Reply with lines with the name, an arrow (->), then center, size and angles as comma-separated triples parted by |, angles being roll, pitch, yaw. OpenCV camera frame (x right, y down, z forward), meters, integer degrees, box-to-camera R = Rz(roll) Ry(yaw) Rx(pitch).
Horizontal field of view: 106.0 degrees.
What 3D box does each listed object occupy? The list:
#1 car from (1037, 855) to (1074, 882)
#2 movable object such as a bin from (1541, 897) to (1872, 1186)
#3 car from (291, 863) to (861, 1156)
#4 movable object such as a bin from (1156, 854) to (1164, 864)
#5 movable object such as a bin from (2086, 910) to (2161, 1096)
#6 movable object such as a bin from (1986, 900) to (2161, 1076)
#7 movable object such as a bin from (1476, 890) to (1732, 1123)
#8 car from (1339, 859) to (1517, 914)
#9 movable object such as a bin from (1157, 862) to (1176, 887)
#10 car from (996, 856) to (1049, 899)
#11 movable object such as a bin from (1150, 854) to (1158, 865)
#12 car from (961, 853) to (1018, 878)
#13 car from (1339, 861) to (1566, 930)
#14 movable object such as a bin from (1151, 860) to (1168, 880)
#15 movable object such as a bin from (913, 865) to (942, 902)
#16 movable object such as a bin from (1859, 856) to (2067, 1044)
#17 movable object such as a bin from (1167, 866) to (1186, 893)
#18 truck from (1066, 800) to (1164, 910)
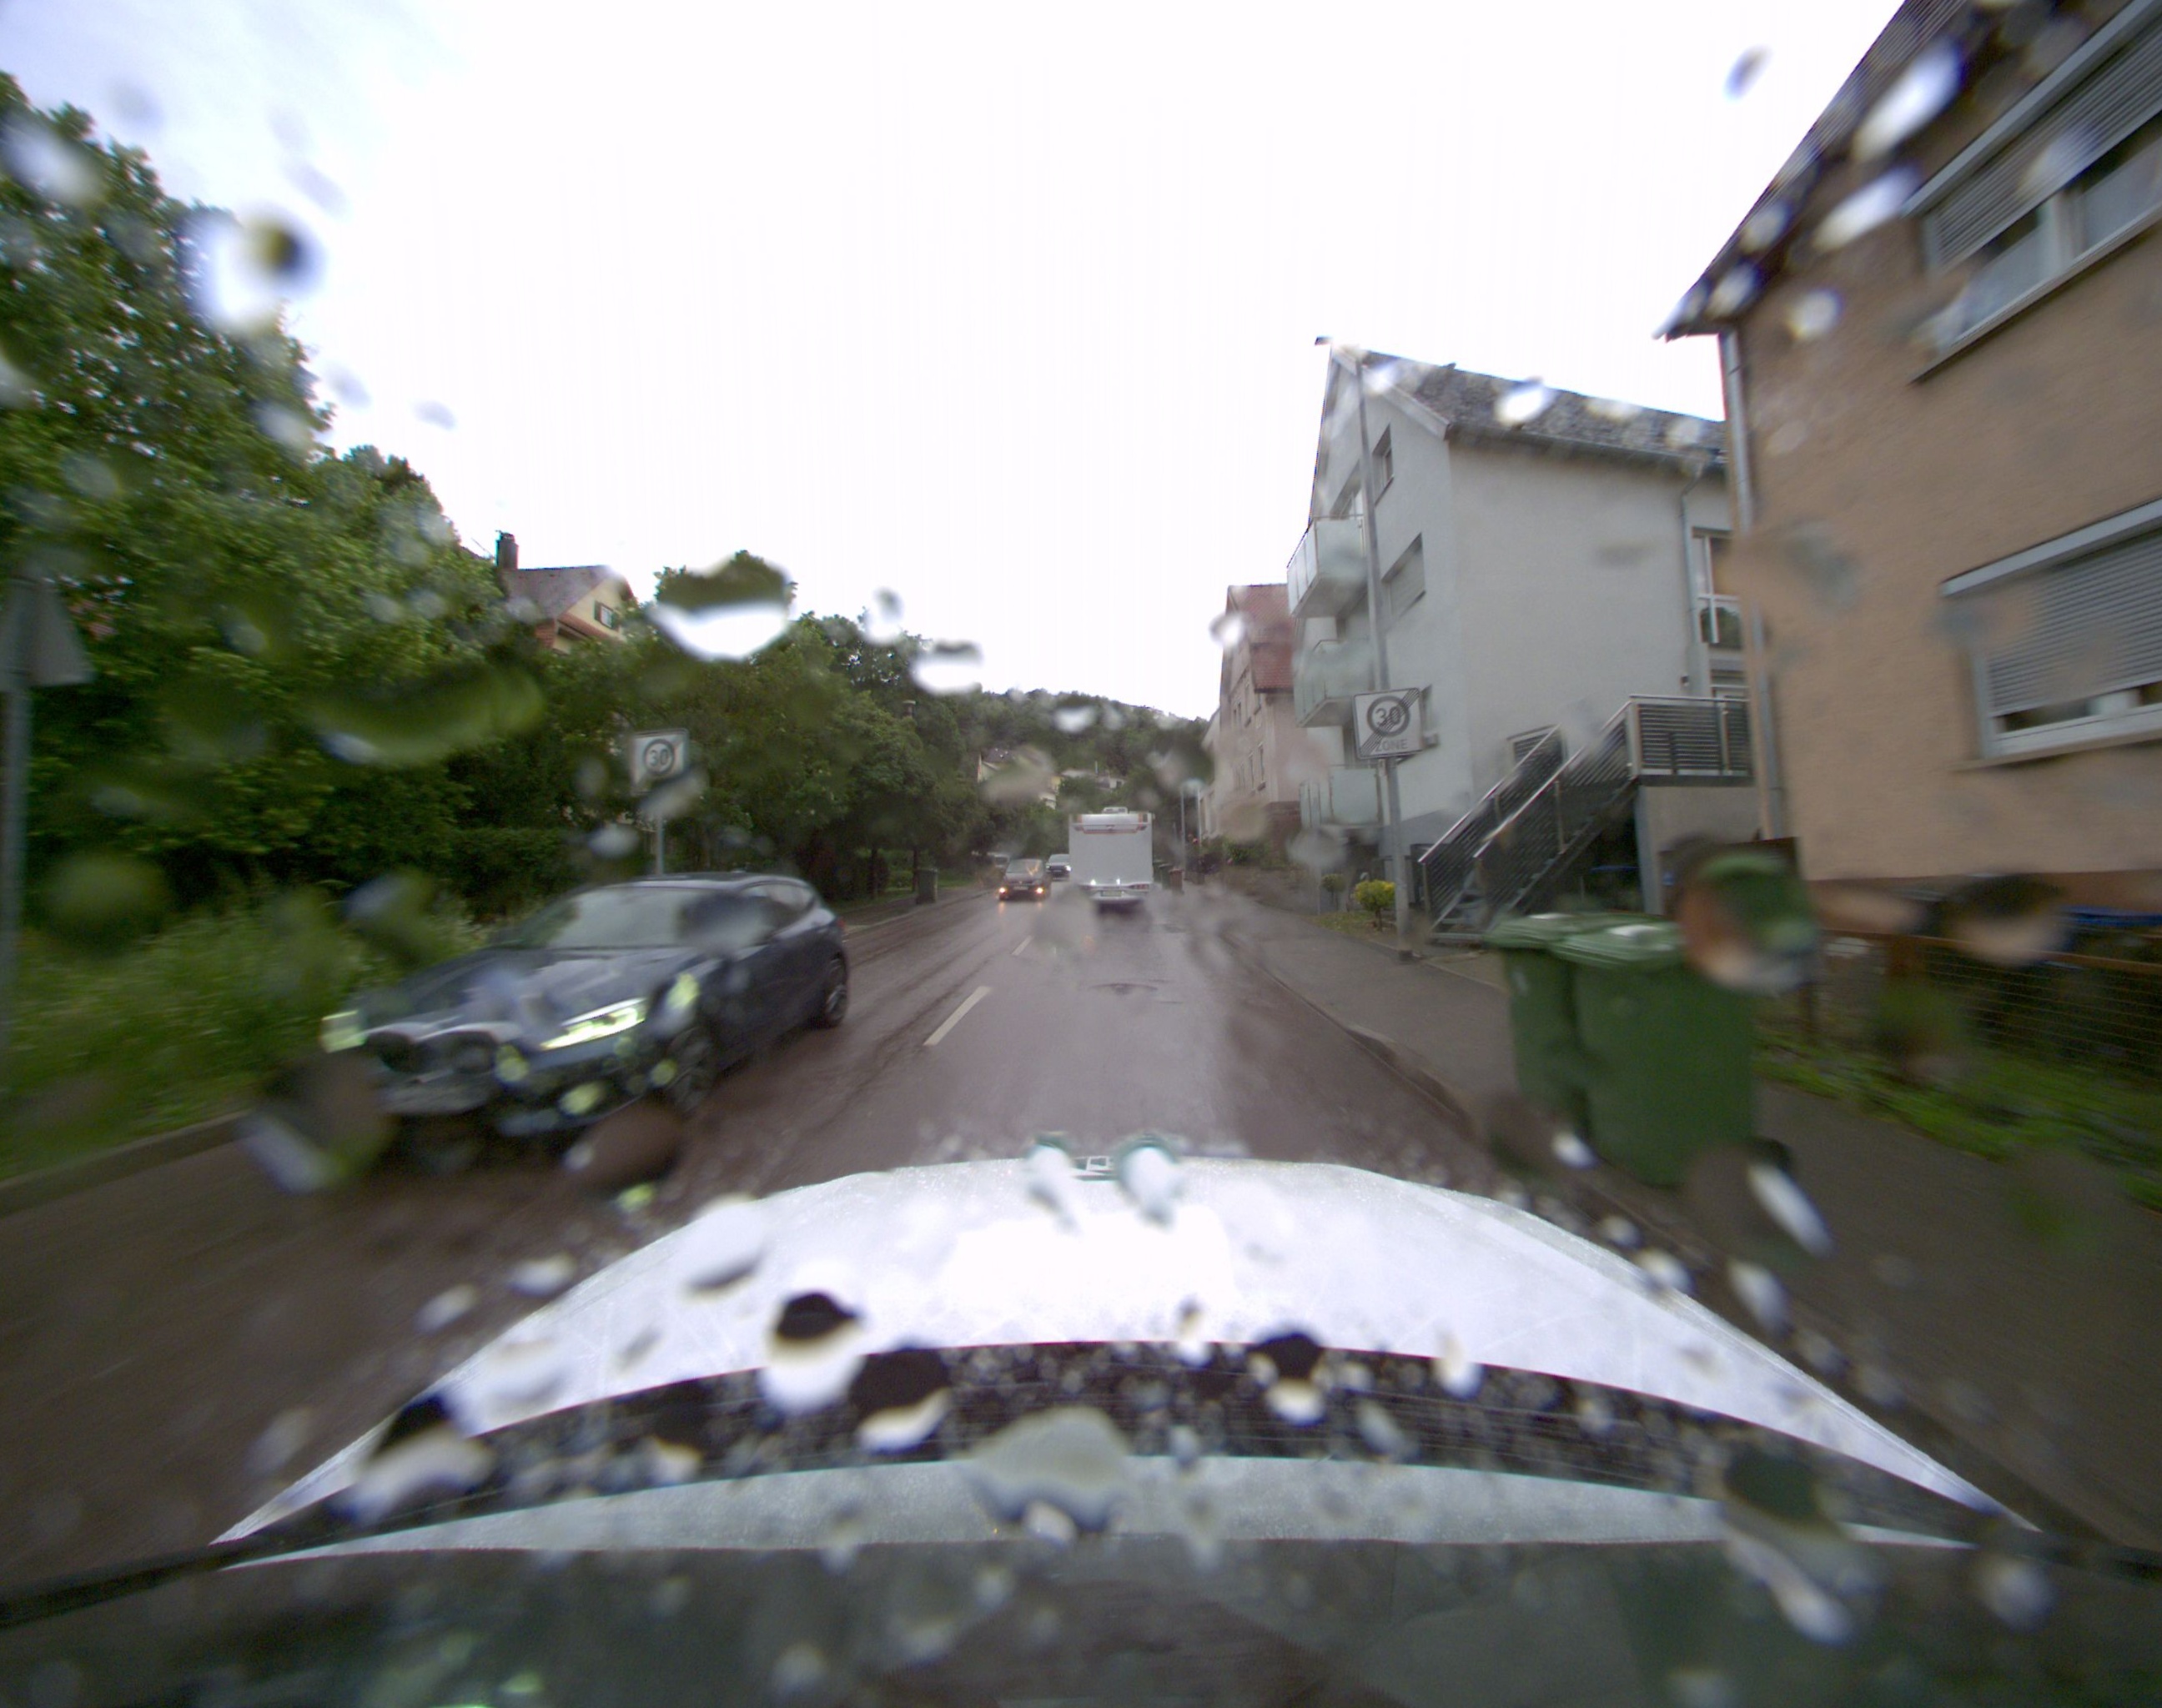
car -> -1.572, 0.895, 52.348 | 1.909, 1.623, 4.368 | -1, 0, 4
movable object such as a bin -> 2.684, 0.768, 3.595 | 0.910, 1.103, 0.703 | -1, 0, 4
car -> -3.124, 0.824, 6.103 | 1.712, 1.430, 3.847 | -1, 0, 2
movable object such as a bin -> 8.662, 0.550, 89.103 | 0.708, 1.088, 0.555 | -1, 0, -28
movable object such as a bin -> 5.706, 0.748, 4.080 | 0.667, 0.895, 0.536 | -1, 0, 1
movable object such as a bin -> 5.773, 0.733, 4.631 | 0.635, 0.895, 0.536 | -1, 0, 1
movable object such as a bin -> 2.729, 0.768, 4.342 | 0.910, 1.103, 0.703 | -1, 0, 4
car -> 8.983, 0.827, 21.303 | 3.959, 1.304, 1.682 | -1, 0, 0
movable object such as a bin -> 3.799, 0.889, 36.105 | 0.793, 1.070, 0.762 | -1, 0, 3
car -> -2.092, 0.821, 30.100 | 1.613, 1.441, 3.738 | -1, 0, 1
movable object such as a bin -> 7.986, 0.571, 88.813 | 0.670, 1.139, 0.620 | -1, 0, -28
car -> -7.169, 0.889, 64.032 | 4.088, 1.800, 2.002 | -1, 0, 3
car -> 8.548, 0.975, 19.011 | 4.452, 1.444, 1.755 | -1, -4, 1
movable object such as a bin -> 4.201, 0.858, 43.558 | 0.832, 1.061, 0.750 | -1, 0, 3
movable object such as a bin -> -4.622, 0.884, 24.598 | 0.718, 1.100, 0.758 | 0, 0, 2
movable object such as a bin -> 5.668, 0.587, 5.263 | 0.658, 1.093, 0.545 | -5, 0, 0
movable object such as a bin -> 3.359, 0.897, 28.671 | 0.628, 0.897, 0.712 | -1, 0, 2
truck -> 0.915, 0.019, 24.363 | 2.507, 2.817, 6.201 | -1, 0, 0
